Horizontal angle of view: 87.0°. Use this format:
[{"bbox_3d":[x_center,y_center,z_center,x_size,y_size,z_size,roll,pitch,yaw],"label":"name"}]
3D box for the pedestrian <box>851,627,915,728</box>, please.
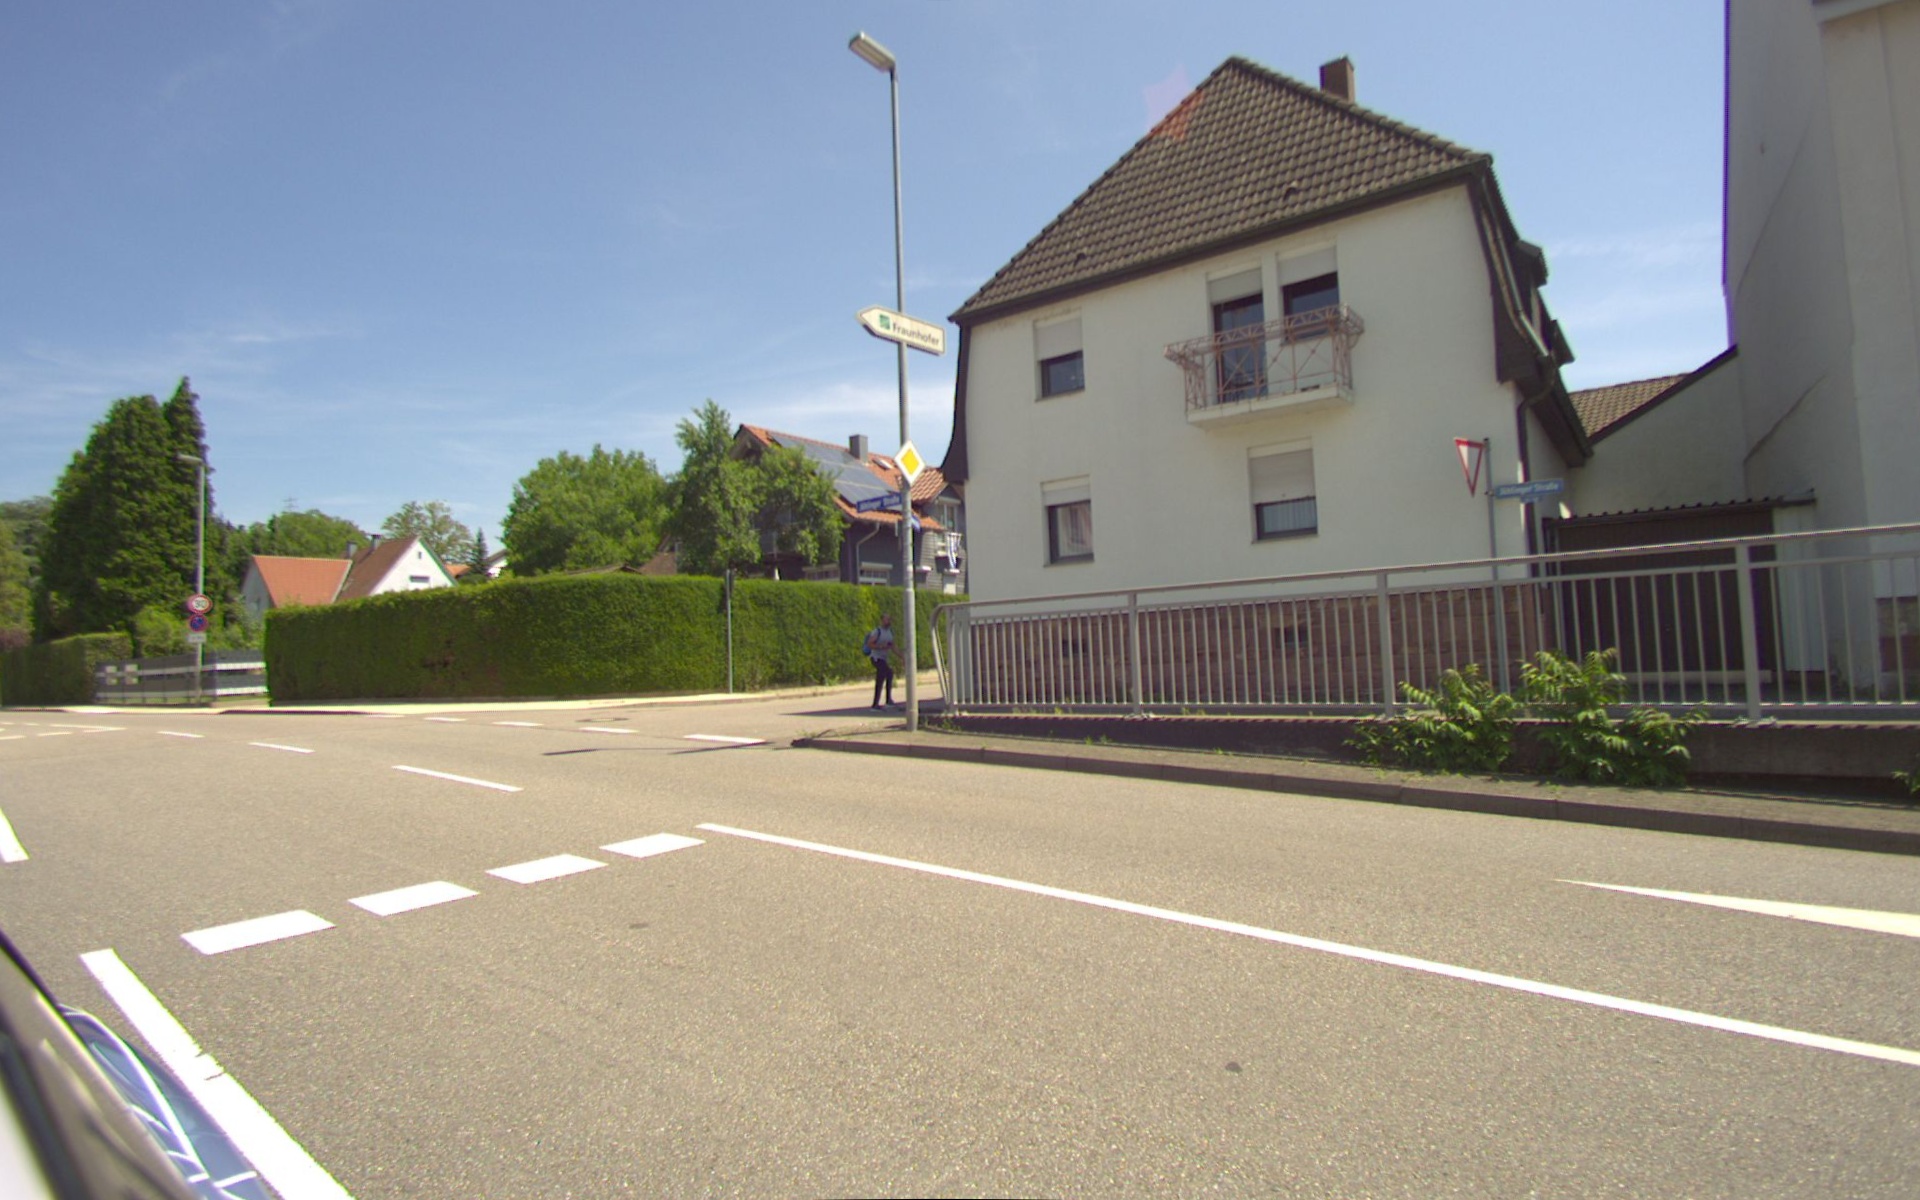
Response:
[{"bbox_3d":[-1.384,1.368,18.148,0.854,1.742,0.720,-2,-1,36],"label":"pedestrian"}]
